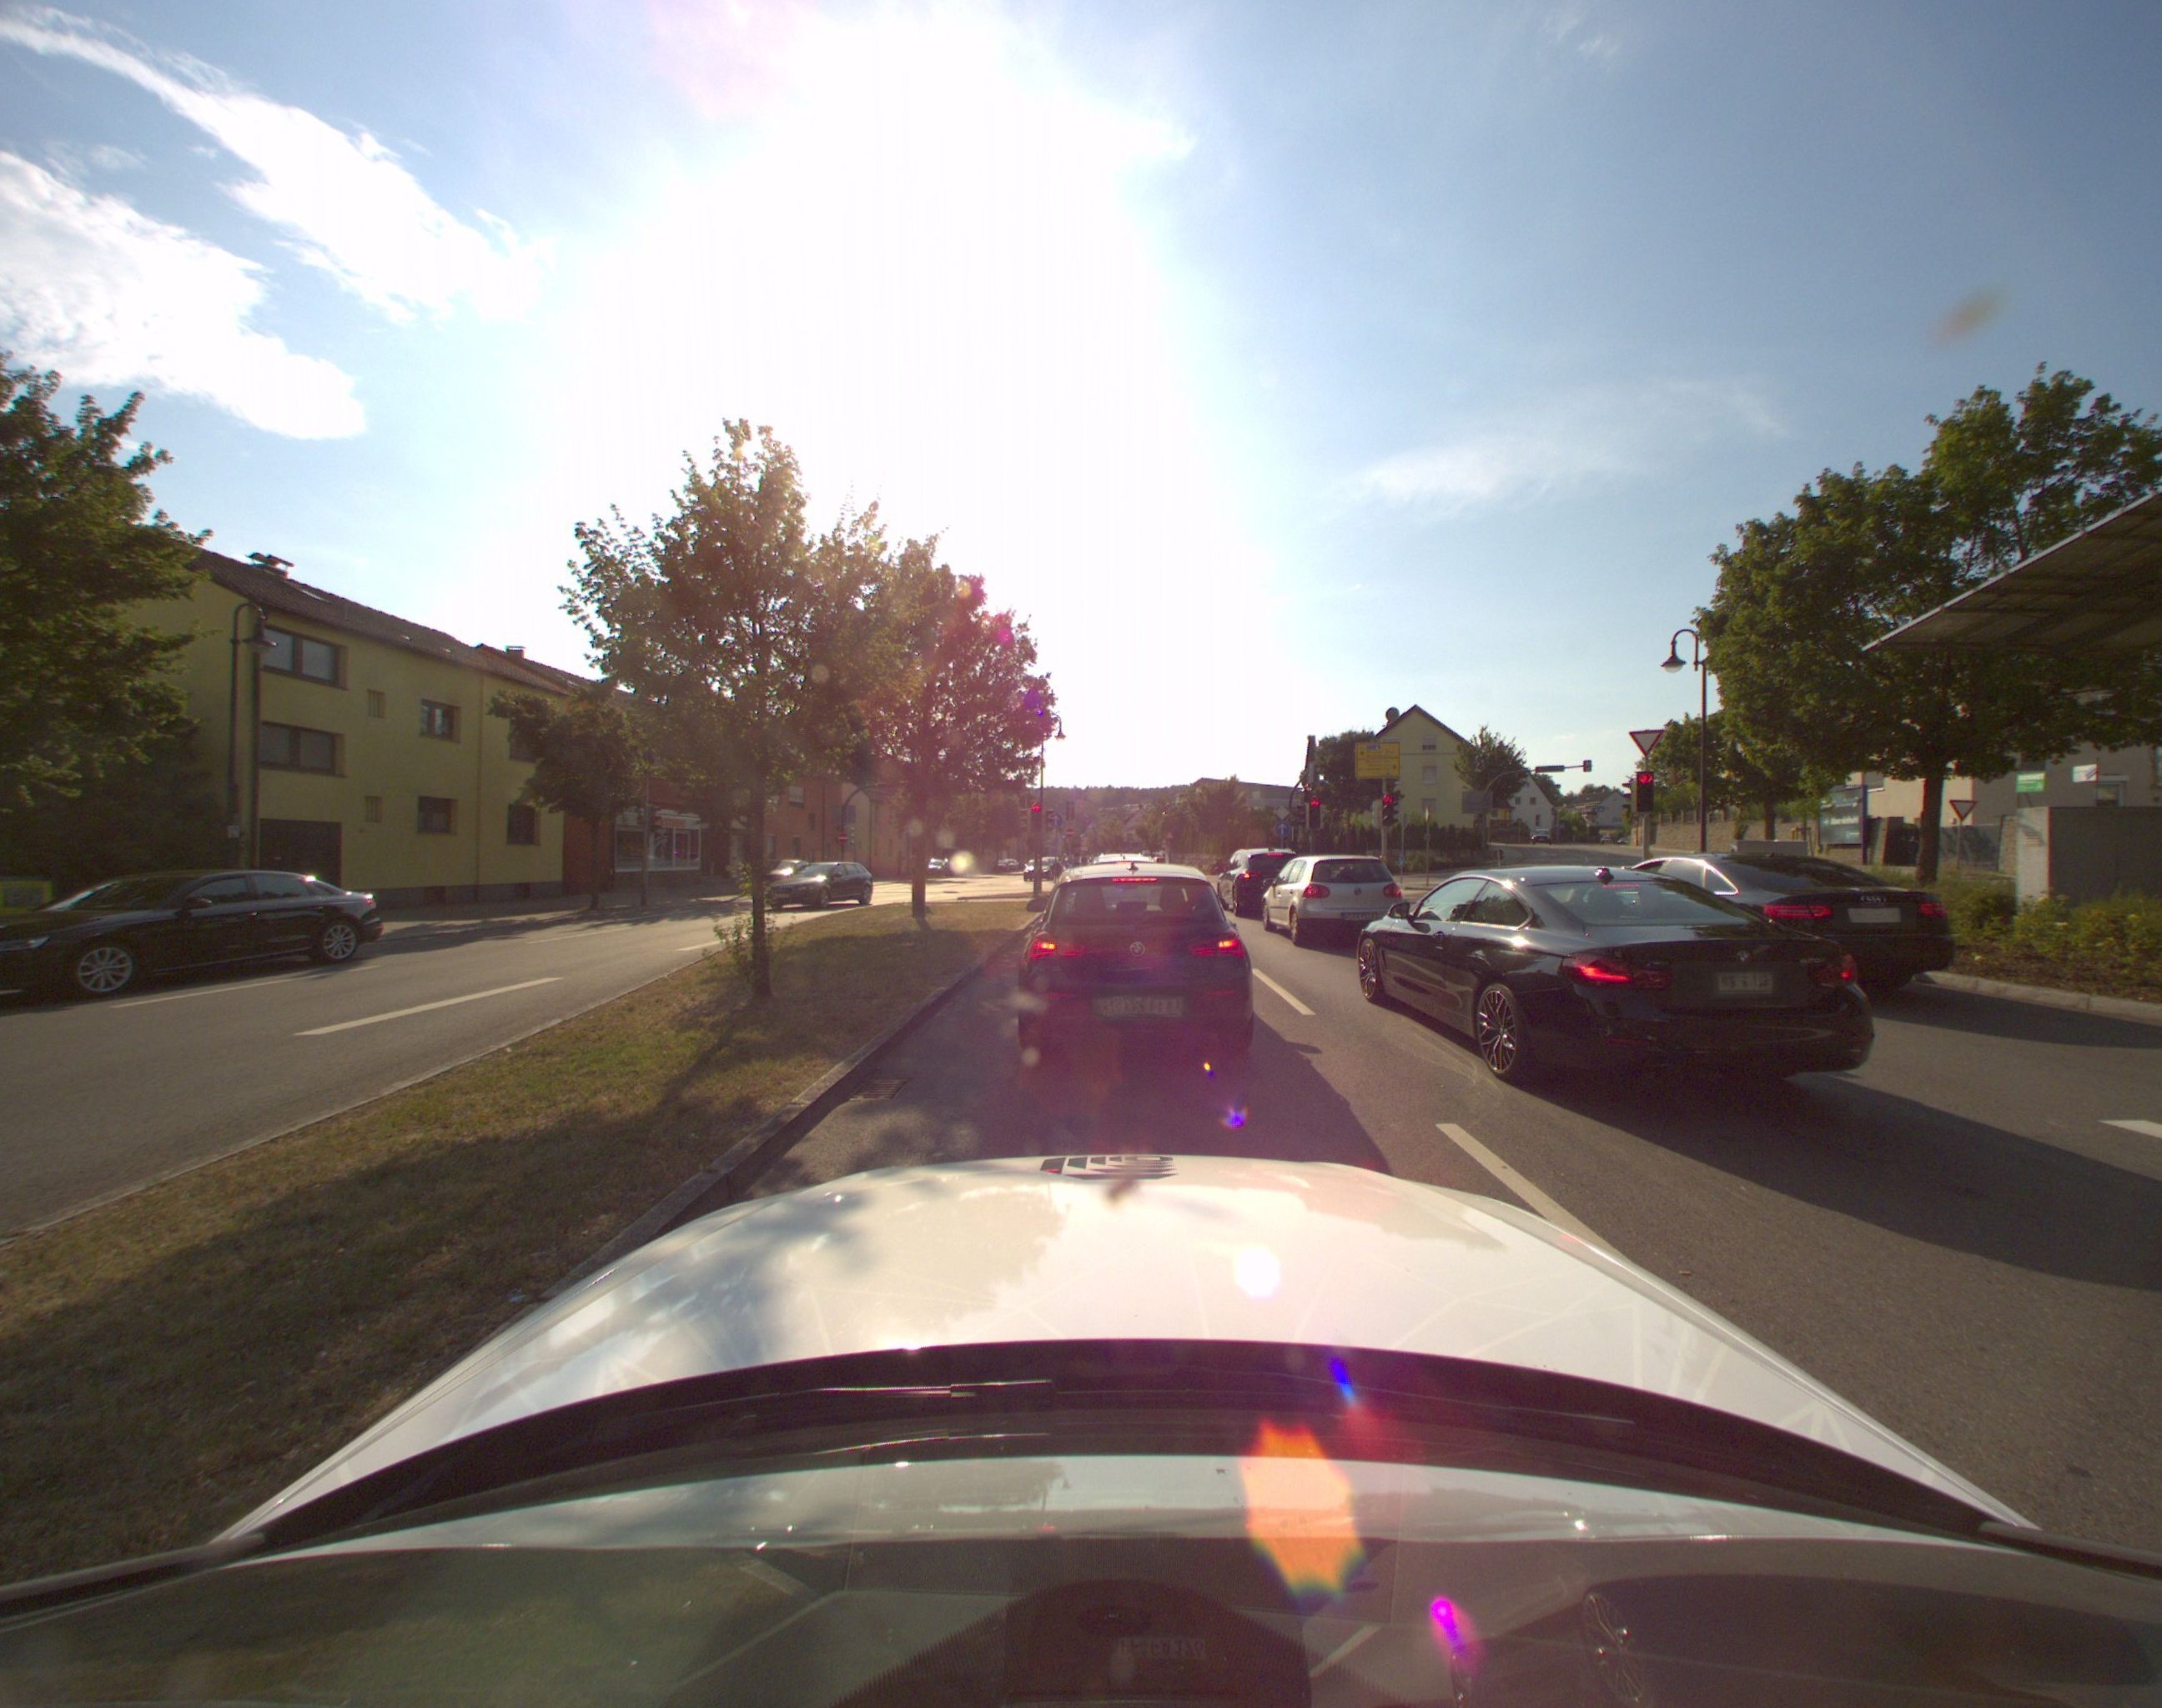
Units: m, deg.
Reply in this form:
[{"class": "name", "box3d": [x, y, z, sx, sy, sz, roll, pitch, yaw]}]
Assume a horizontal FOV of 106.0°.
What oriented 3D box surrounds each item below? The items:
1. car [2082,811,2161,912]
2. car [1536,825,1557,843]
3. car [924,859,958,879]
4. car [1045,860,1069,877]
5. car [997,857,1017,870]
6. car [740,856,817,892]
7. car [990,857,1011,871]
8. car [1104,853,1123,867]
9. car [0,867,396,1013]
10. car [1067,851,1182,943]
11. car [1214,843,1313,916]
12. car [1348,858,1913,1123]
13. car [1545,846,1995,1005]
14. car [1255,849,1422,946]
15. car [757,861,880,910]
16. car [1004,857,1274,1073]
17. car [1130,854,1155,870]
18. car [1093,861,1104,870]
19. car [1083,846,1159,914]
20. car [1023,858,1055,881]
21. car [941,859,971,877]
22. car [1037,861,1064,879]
[{"class": "car", "box3d": [19.278, 0.110, 12.931, 3.958, 1.608, 1.861, 0, 0, 14]}, {"class": "car", "box3d": [45.423, -1.950, 79.494, 1.769, 1.506, 4.096, 0, 4, 30]}, {"class": "car", "box3d": [-11.655, 1.250, 67.861, 1.916, 1.596, 4.004, 0, 0, 4]}, {"class": "car", "box3d": [-2.010, 1.223, 70.070, 1.685, 1.353, 4.004, 0, 0, 4]}, {"class": "car", "box3d": [-9.362, 1.215, 103.851, 1.916, 1.596, 4.004, 0, 0, 4]}, {"class": "car", "box3d": [-14.270, 0.893, 38.635, 1.835, 1.552, 4.005, 2, 0, 5]}, {"class": "car", "box3d": [-9.666, 1.216, 98.349, 1.916, 1.596, 4.004, 0, 0, 4]}, {"class": "car", "box3d": [3.972, 0.750, 101.397, 1.887, 1.702, 4.518, -2, 0, -4]}, {"class": "car", "box3d": [-11.962, 0.932, 10.725, 1.836, 1.421, 4.646, 0, 0, 2]}, {"class": "car", "box3d": [0.820, 0.685, 15.096, 1.808, 1.451, 4.245, -1, 0, 3]}, {"class": "car", "box3d": [4.566, 0.594, 20.963, 1.808, 1.666, 4.351, -1, 0, 3]}, {"class": "car", "box3d": [3.649, 0.744, 6.548, 1.808, 1.388, 4.351, -1, 0, 3]}, {"class": "car", "box3d": [7.543, 0.651, 9.682, 1.674, 1.435, 4.593, -1, 0, 3]}, {"class": "car", "box3d": [4.330, 0.661, 14.413, 1.808, 1.446, 4.351, -1, 0, 3]}, {"class": "car", "box3d": [-8.100, 0.922, 25.513, 1.633, 1.386, 4.206, 0, 0, 15]}, {"class": "car", "box3d": [0.512, 0.751, 7.597, 1.783, 1.414, 4.351, -1, 0, 3]}, {"class": "car", "box3d": [6.034, 0.793, 80.517, 1.858, 1.485, 4.652, 0, 0, -4]}, {"class": "car", "box3d": [3.091, 2.002, 140.904, 1.917, 1.596, 4.002, 0, 0, 2]}, {"class": "car", "box3d": [1.093, 0.631, 21.846, 1.808, 1.641, 4.245, -1, 0, 3]}, {"class": "car", "box3d": [-2.858, 1.029, 55.868, 1.759, 1.458, 4.004, 0, 0, 4]}, {"class": "car", "box3d": [-11.259, 1.232, 73.641, 1.916, 1.596, 4.004, 0, 0, 4]}, {"class": "car", "box3d": [-2.303, 1.224, 62.969, 1.685, 1.353, 4.004, 0, 0, 4]}]
